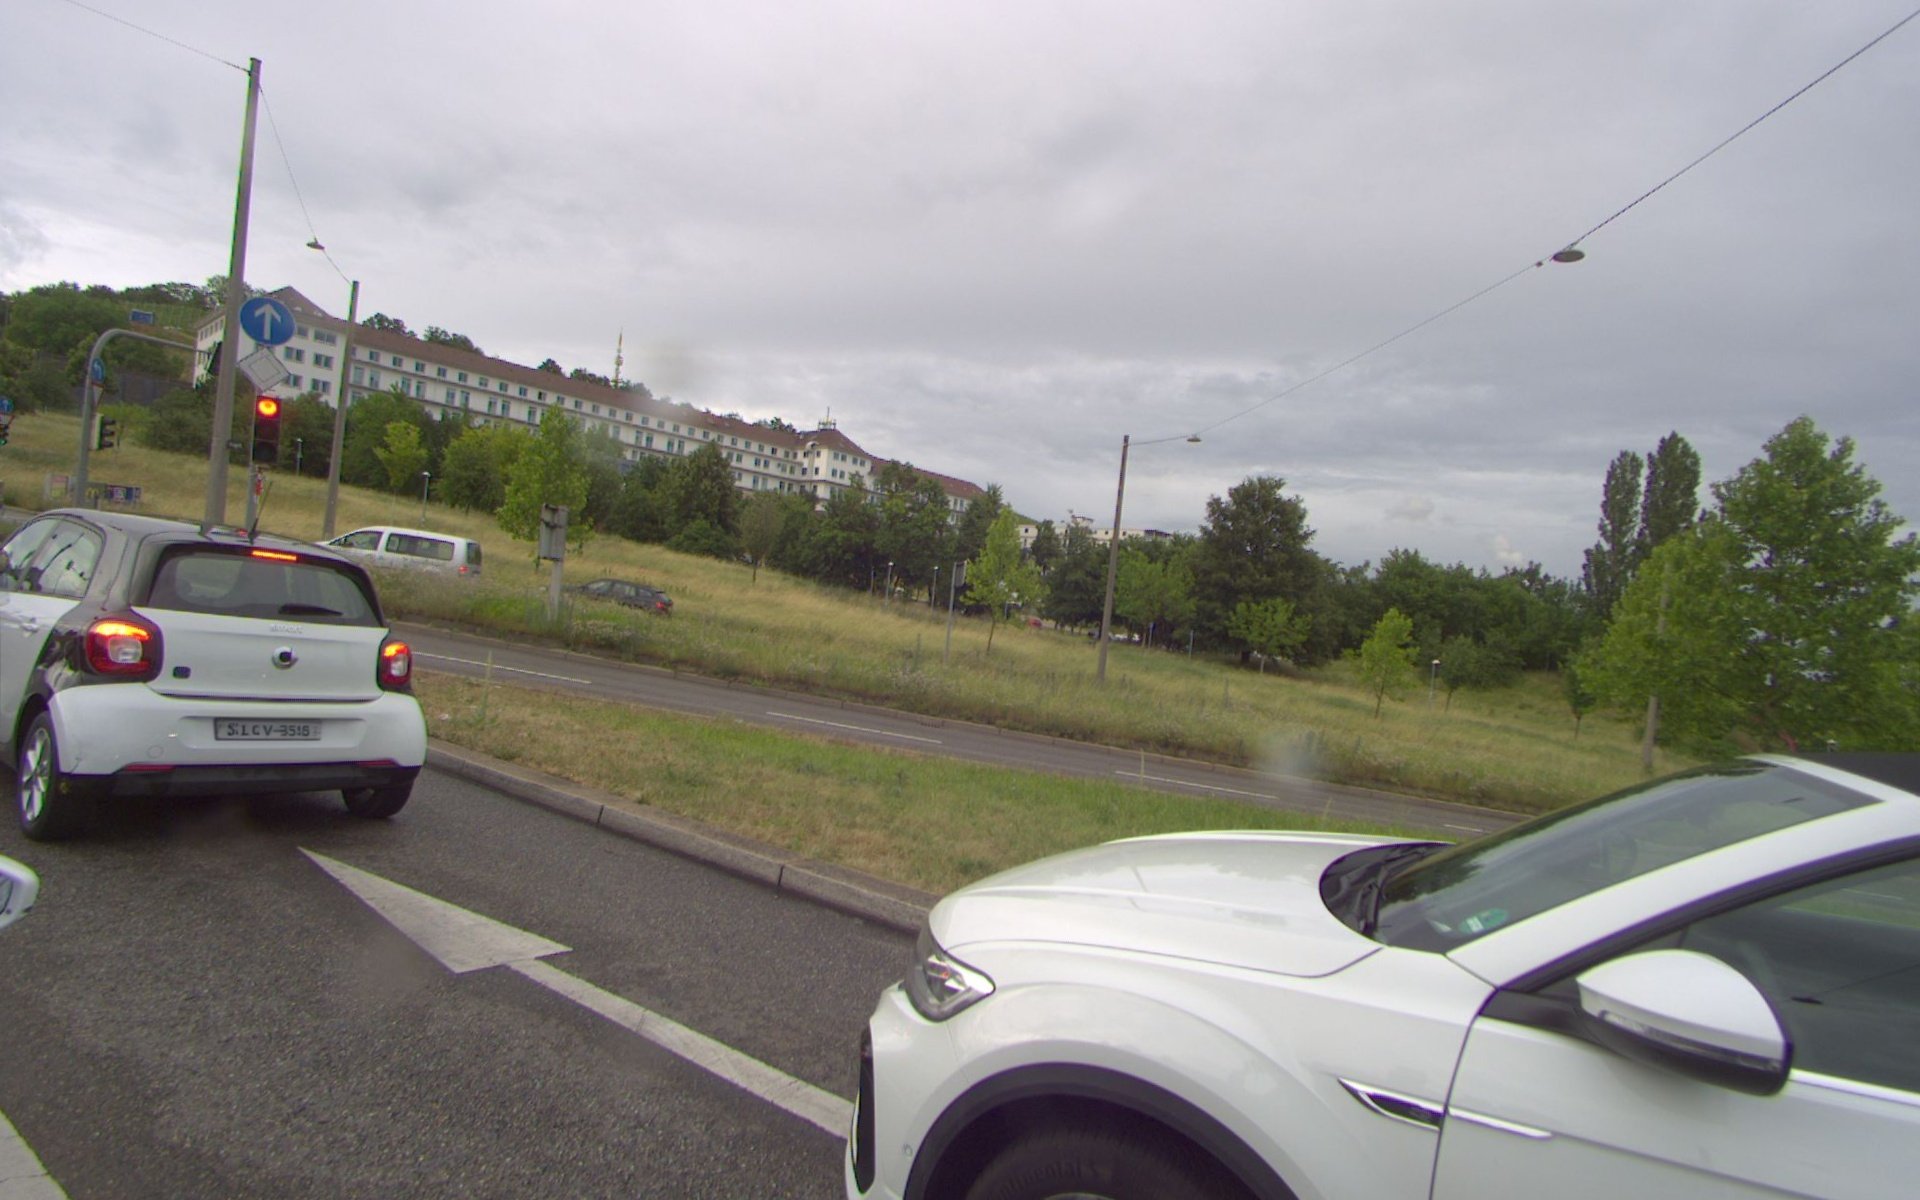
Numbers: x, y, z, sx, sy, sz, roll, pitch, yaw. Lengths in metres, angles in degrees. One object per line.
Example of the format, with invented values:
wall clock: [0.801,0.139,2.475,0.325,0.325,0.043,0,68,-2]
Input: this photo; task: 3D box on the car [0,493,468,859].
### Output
car: [-4.657,0.285,5.894,3.397,1.520,1.659,6,-2,36]

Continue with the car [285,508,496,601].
car: [-15.836,-1.217,28.190,4.619,1.871,1.820,7,-2,-10]

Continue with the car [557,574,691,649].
car: [-11.656,0.419,35.116,3.932,2.037,1.998,7,-2,-9]

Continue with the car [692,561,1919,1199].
car: [1.733,0.970,1.797,4.156,1.571,1.718,6,-2,28]

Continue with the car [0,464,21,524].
car: [-29.355,-3.333,27.776,4.471,1.639,1.988,8,-2,-26]
